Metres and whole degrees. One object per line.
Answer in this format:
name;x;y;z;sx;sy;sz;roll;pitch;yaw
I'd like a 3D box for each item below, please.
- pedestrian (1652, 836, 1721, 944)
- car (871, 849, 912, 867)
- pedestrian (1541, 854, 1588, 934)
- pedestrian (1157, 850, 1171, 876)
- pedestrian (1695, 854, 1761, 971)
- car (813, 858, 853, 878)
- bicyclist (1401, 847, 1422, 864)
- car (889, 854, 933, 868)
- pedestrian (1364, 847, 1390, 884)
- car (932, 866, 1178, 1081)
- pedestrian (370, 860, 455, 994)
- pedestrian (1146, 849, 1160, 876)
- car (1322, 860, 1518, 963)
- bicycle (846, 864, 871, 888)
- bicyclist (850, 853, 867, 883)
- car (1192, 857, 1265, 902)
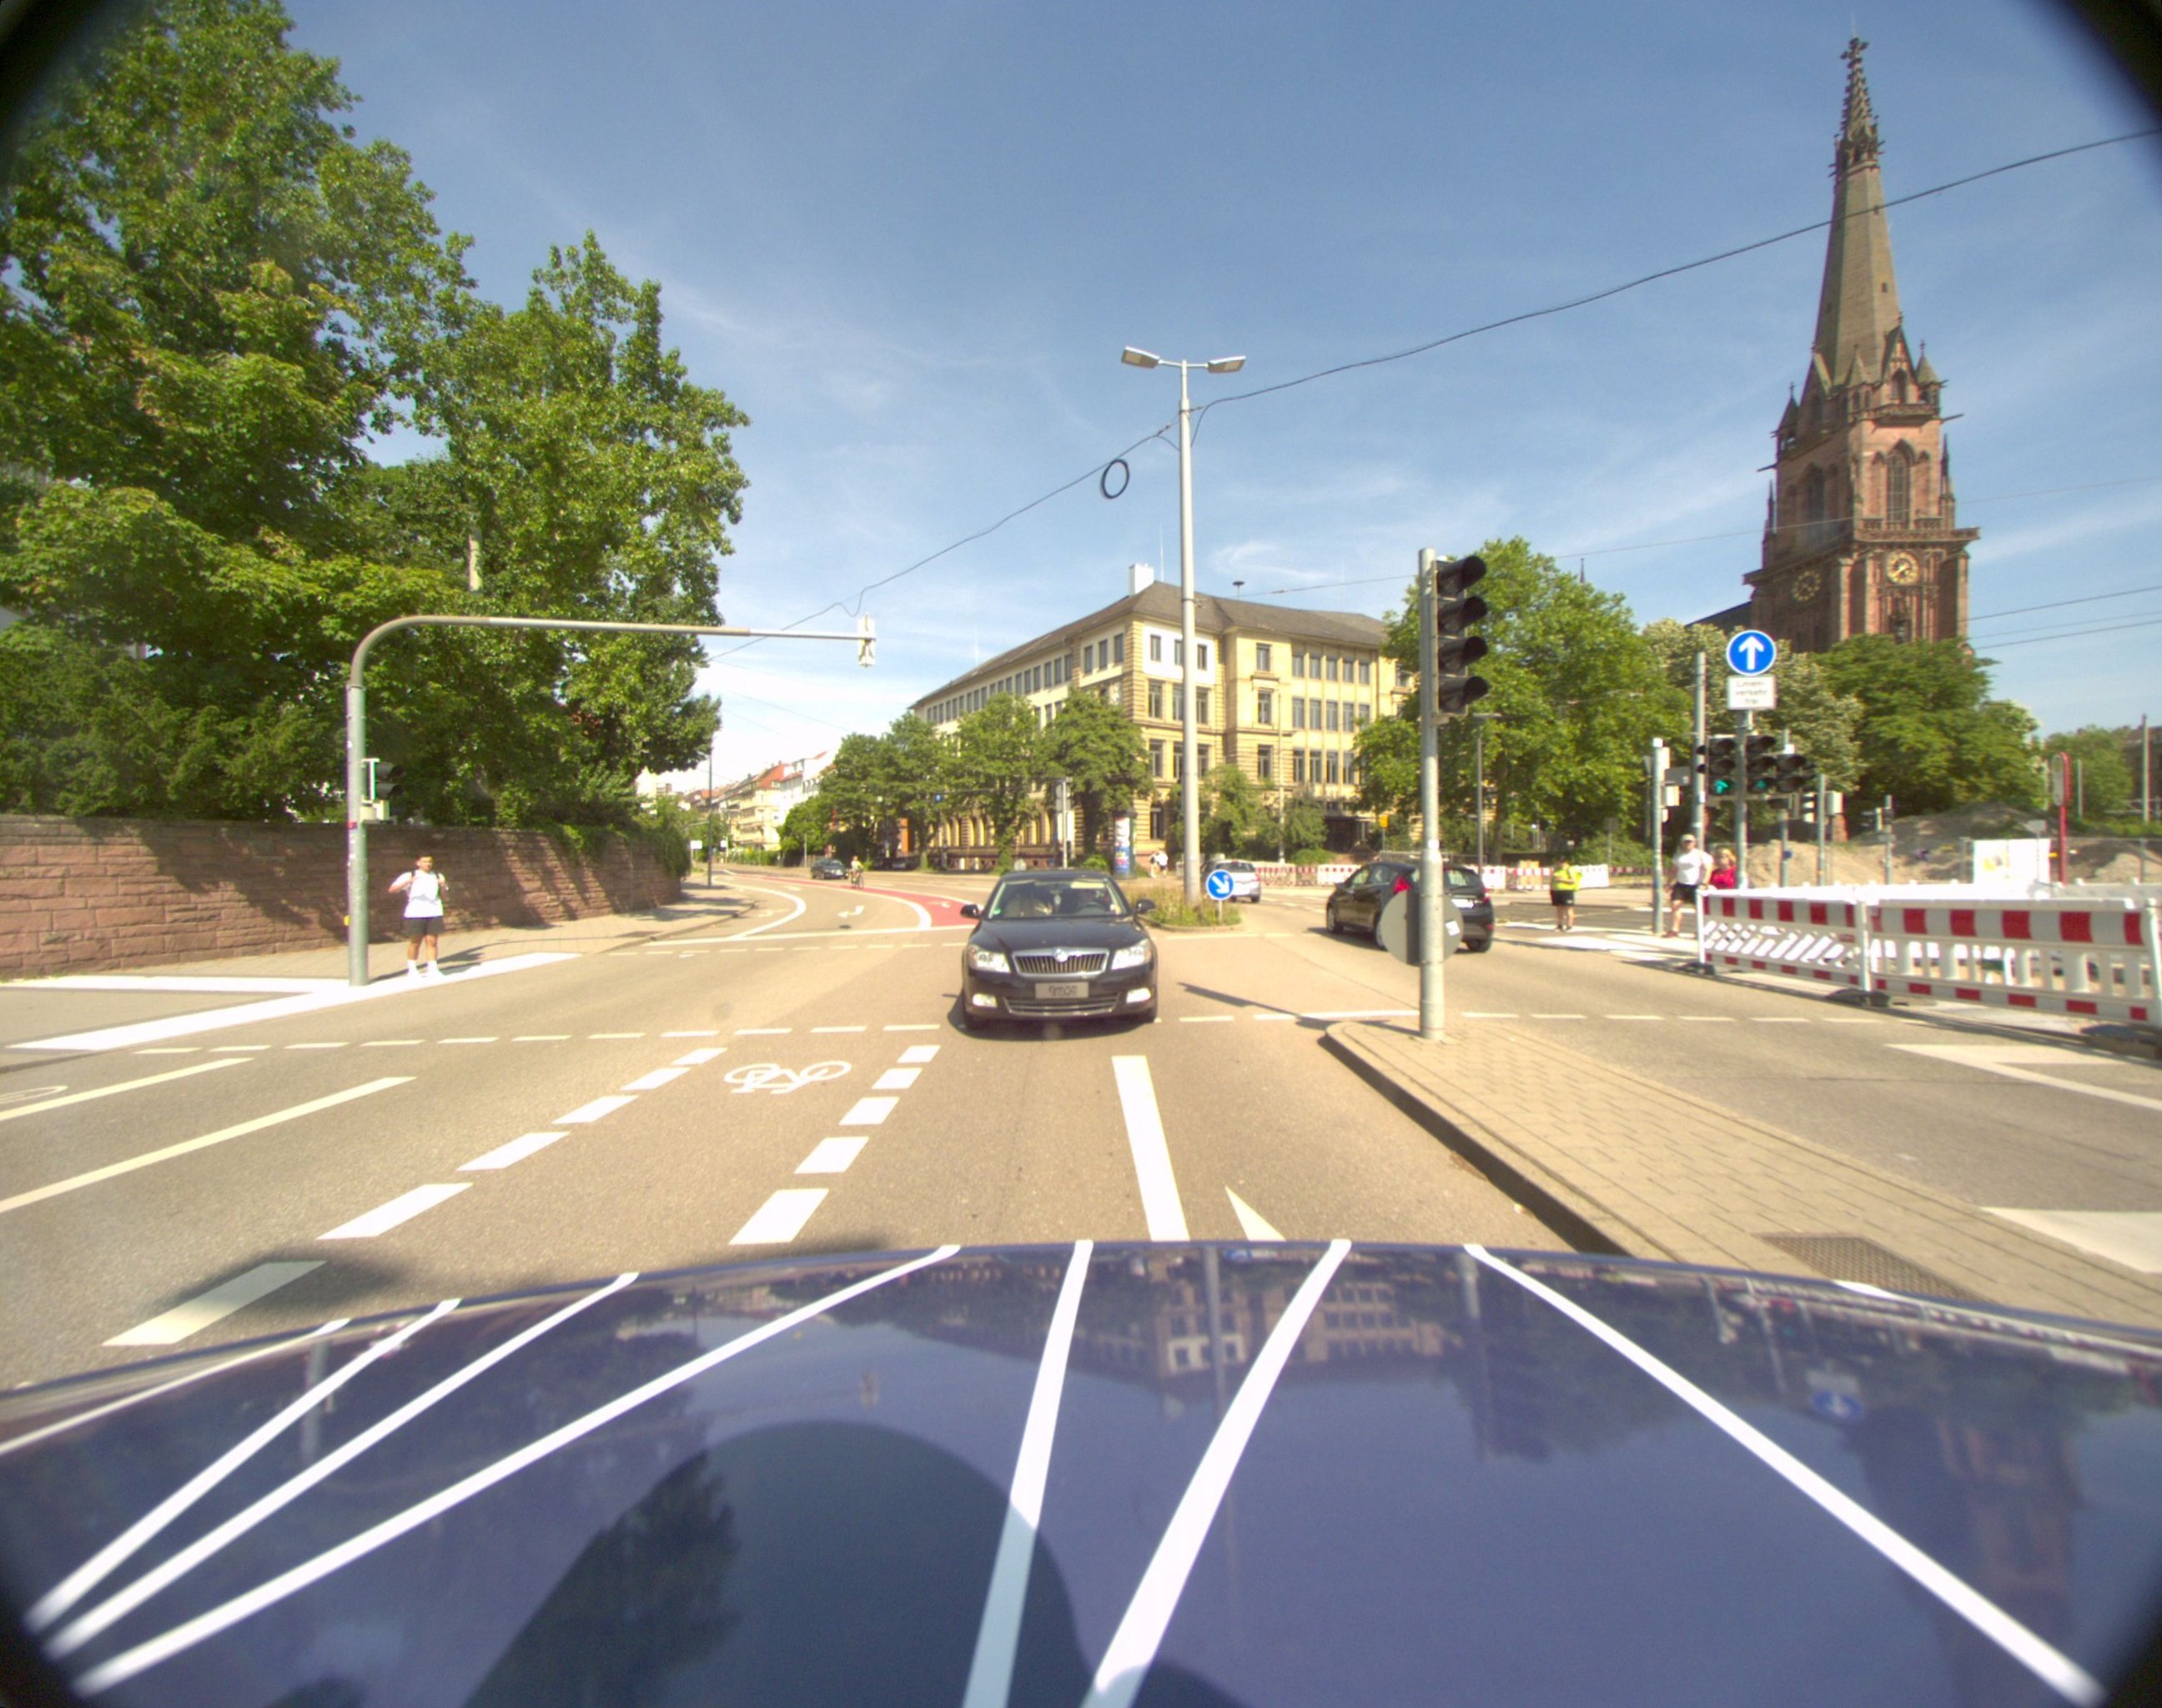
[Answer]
pedestrian;10.568;0.609;13.257;0.651;1.802;0.839;-1;0;-43
car;-21.139;0.410;84.984;4.007;2.002;1.995;0;0;-36
pedestrian;9.561;0.781;15.024;0.666;1.534;0.424;-3;1;38
pedestrian;5.580;0.578;51.196;0.743;1.739;0.586;0;1;33
pedestrian;9.234;0.812;10.862;0.350;1.606;0.686;0;1;1
car;-17.825;0.980;54.498;1.806;1.368;4.266;0;0;-30
bicyclist;18.470;0.087;42.419;0.684;0.921;0.867;-1;1;-39
car;-17.936;0.720;80.192;4.007;1.455;1.995;0;0;-36
pedestrian;13.498;0.530;34.626;0.939;1.646;0.845;0;1;9
car;-0.207;0.947;8.198;1.864;1.510;4.826;0;1;0
pedestrian;-9.708;1.027;11.066;0.654;1.863;0.795;1;0;-18
pedestrian;4.812;0.561;50.943;0.743;1.739;0.586;0;1;32
car;5.542;0.851;12.995;1.670;1.442;3.818;1;0;1
bicycle;-11.923;1.162;40.678;0.687;1.215;2.181;-1;1;-32
bicyclist;-11.875;0.733;40.556;0.589;1.539;0.929;-3;2;-32
car;5.014;0.828;26.342;1.798;1.403;4.000;1;0;1
